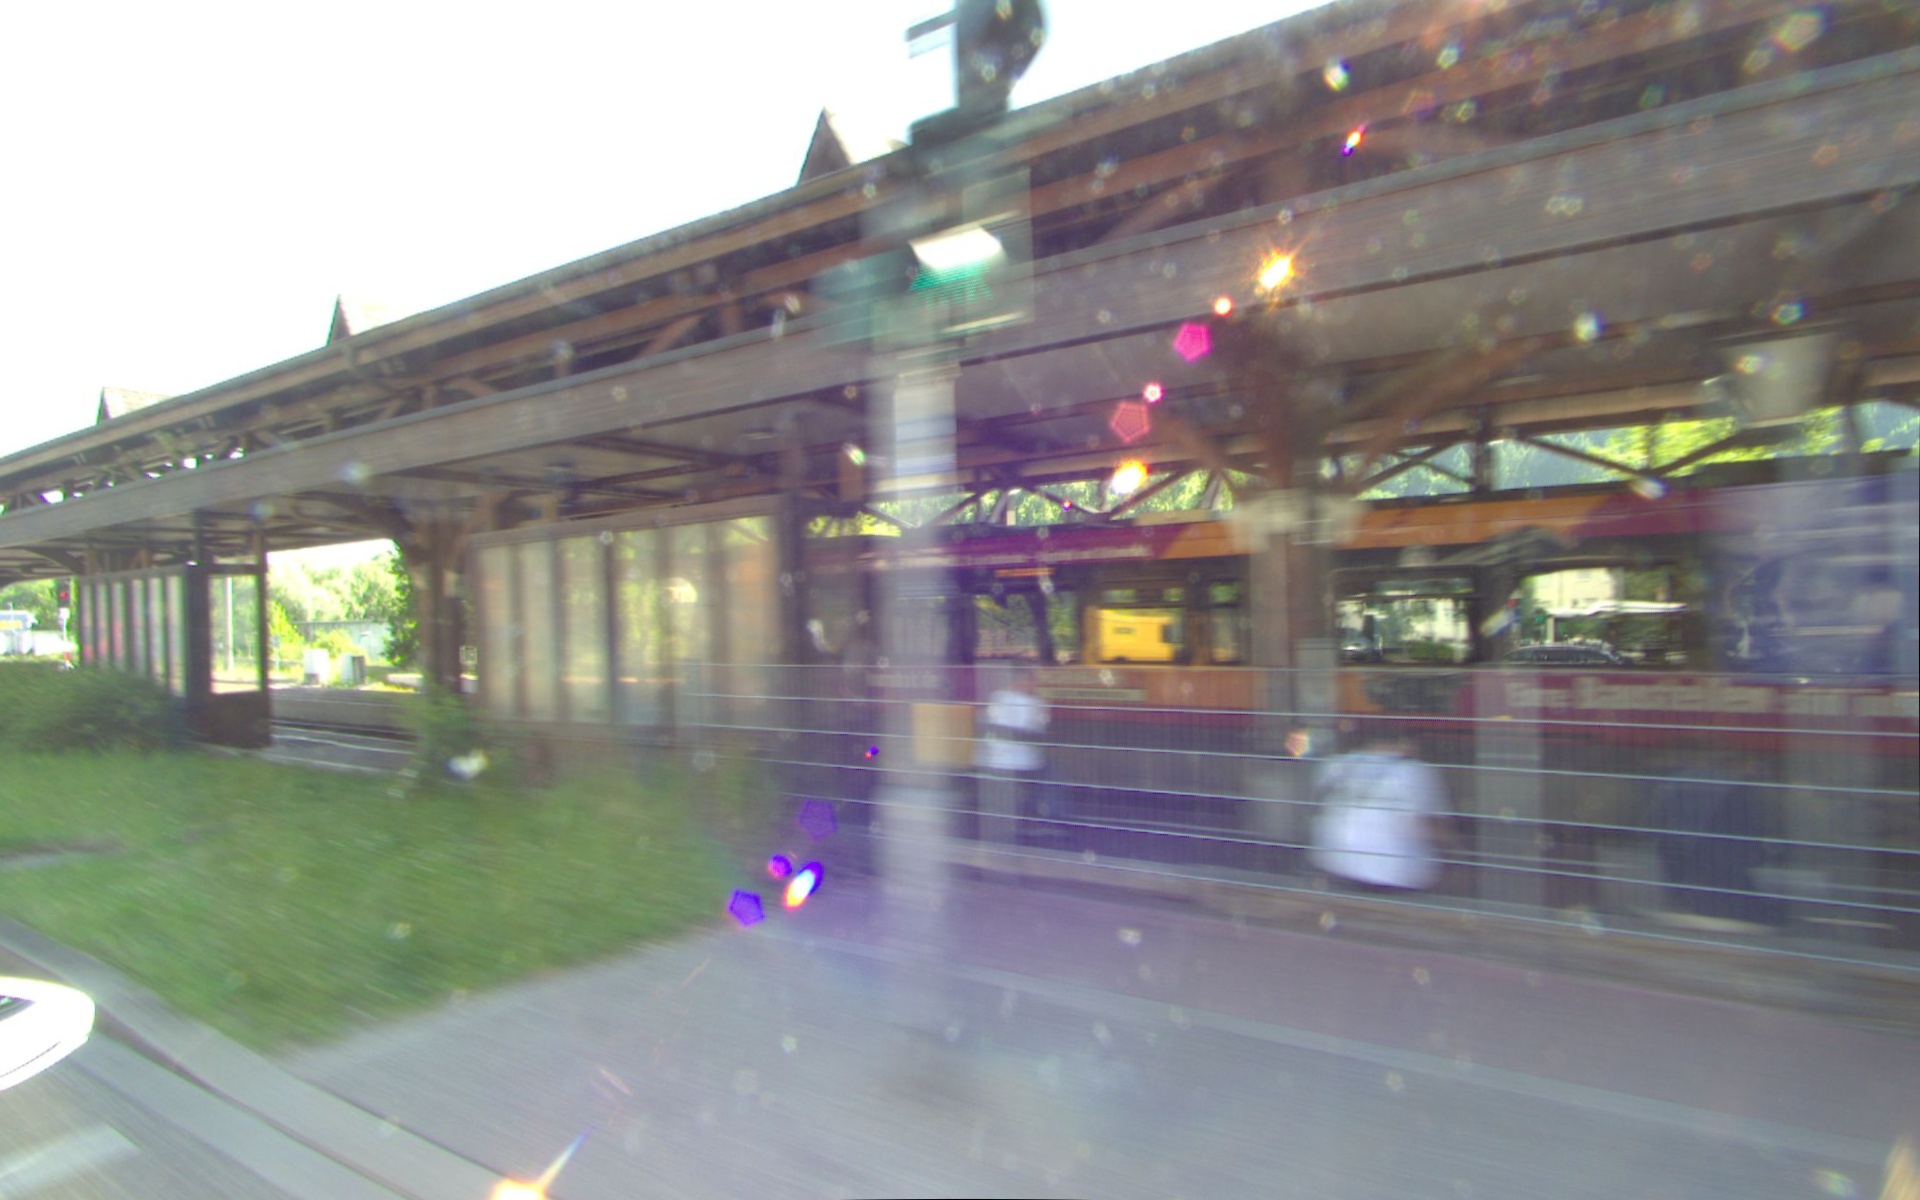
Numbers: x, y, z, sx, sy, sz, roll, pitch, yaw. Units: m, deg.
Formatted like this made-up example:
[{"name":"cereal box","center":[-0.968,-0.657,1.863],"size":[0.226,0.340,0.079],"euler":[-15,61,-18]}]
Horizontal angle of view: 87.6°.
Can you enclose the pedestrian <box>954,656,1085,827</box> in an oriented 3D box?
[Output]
[{"name":"pedestrian","center":[0.441,0.986,7.244],"size":[0.657,1.130,0.742],"euler":[1,-2,30]}]

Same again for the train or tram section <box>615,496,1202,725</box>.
[{"name":"train or tram section","center":[-1.584,0.264,19.275],"size":[11.877,3.406,2.752],"euler":[0,-3,33]}]

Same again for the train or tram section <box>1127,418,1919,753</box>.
[{"name":"train or tram section","center":[8.212,-0.021,12.805],"size":[11.878,3.405,2.783],"euler":[-1,-4,33]}]

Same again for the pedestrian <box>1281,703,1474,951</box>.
[{"name":"pedestrian","center":[2.022,1.025,4.815],"size":[0.757,0.995,0.742],"euler":[1,-2,30]}]

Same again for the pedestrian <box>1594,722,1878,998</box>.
[{"name":"pedestrian","center":[3.127,0.993,4.135],"size":[0.795,0.885,0.844],"euler":[1,-2,30]}]
